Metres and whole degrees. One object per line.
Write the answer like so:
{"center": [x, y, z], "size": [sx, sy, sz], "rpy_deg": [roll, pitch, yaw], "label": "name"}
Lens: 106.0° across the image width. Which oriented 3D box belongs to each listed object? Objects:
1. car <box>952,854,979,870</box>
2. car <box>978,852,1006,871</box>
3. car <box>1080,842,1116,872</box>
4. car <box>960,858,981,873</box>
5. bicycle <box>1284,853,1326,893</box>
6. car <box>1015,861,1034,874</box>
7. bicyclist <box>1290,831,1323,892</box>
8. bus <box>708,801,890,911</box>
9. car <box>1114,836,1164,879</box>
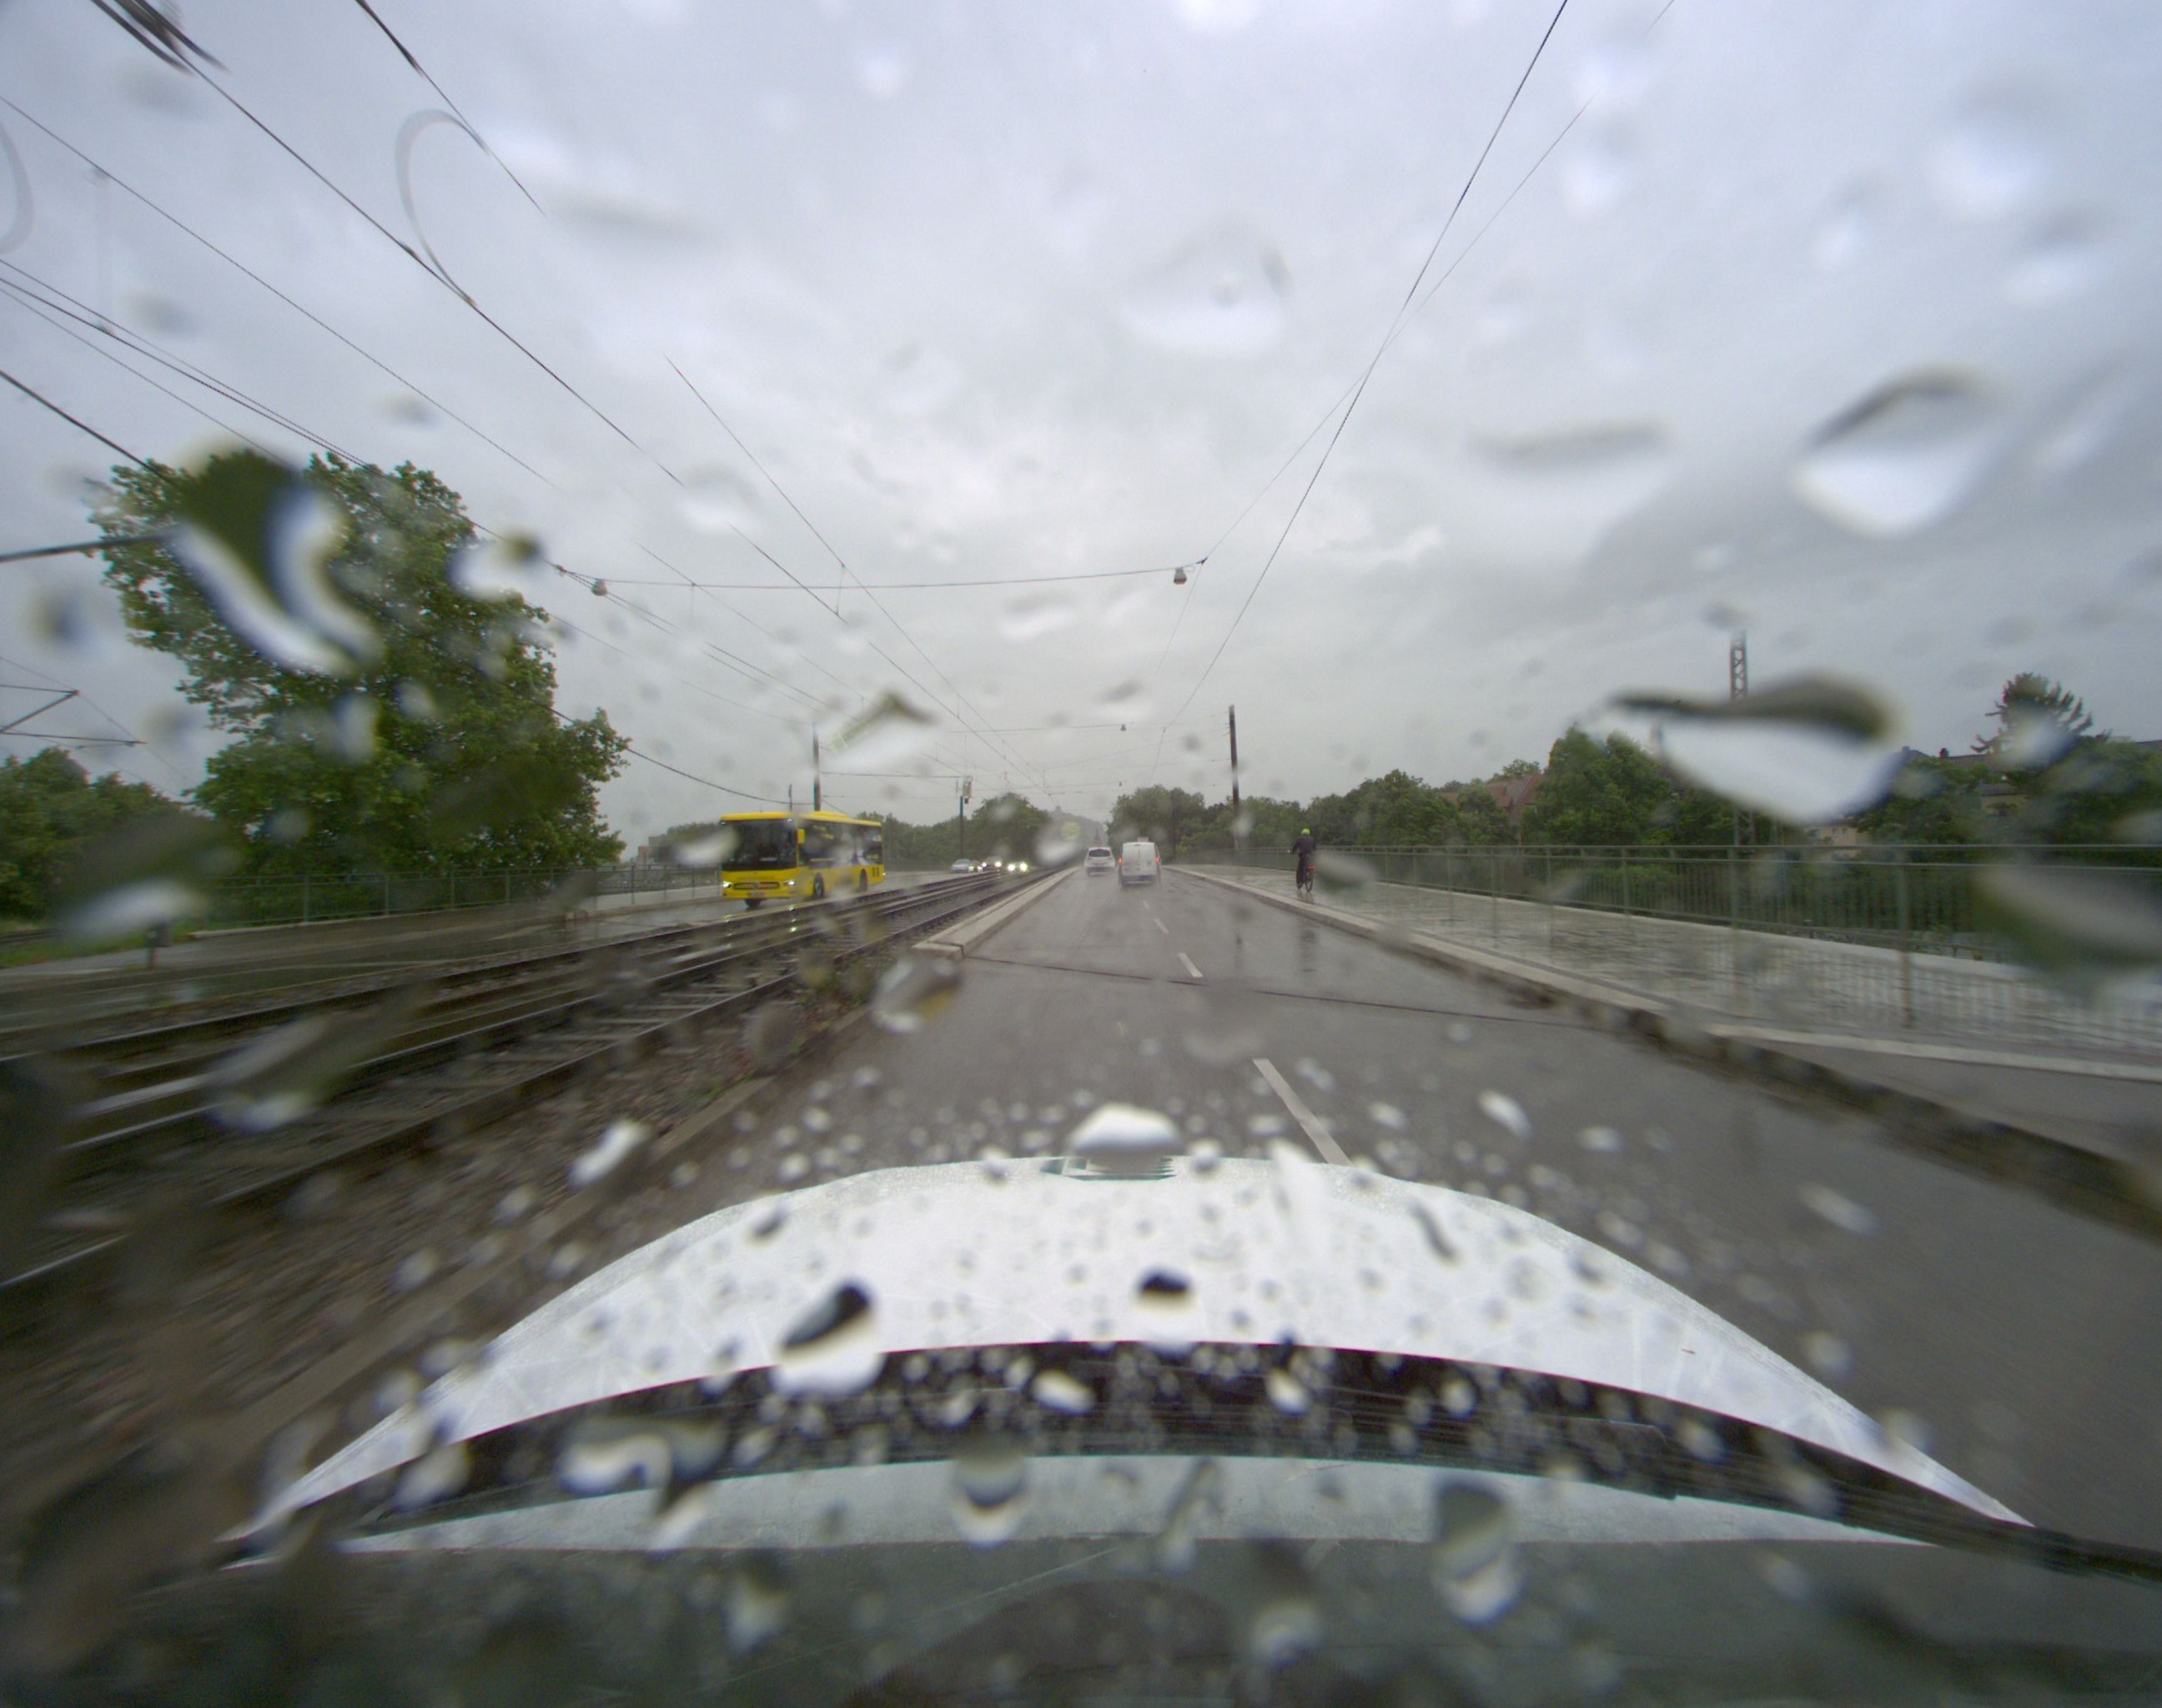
{"center": [-11.790, 0.886, 83.395], "size": [1.987, 1.456, 4.620], "rpy_deg": [-3, -1, 1], "label": "car"}
{"center": [-8.914, 0.795, 81.855], "size": [1.986, 1.717, 4.942], "rpy_deg": [-3, -1, 2], "label": "car"}
{"center": [1.071, 0.236, 48.900], "size": [1.985, 1.717, 4.004], "rpy_deg": [0, -1, 4], "label": "car"}
{"center": [-12.027, 1.301, 88.740], "size": [1.615, 1.456, 4.322], "rpy_deg": [-3, -1, 1], "label": "car"}
{"center": [6.601, 0.533, 24.071], "size": [0.720, 1.129, 2.169], "rpy_deg": [0, -1, 2], "label": "bicycle"}
{"center": [-7.059, 1.714, 102.436], "size": [1.988, 1.509, 5.111], "rpy_deg": [-3, -1, -1], "label": "car"}
{"center": [6.626, 0.217, 24.003], "size": [0.723, 1.764, 0.949], "rpy_deg": [0, -2, 2], "label": "bicyclist"}
{"center": [-10.243, -0.041, 31.375], "size": [2.698, 3.340, 10.998], "rpy_deg": [-3, 1, 2], "label": "bus"}
{"center": [2.449, 0.193, 34.453], "size": [1.985, 1.726, 4.004], "rpy_deg": [0, -1, 4], "label": "car"}
